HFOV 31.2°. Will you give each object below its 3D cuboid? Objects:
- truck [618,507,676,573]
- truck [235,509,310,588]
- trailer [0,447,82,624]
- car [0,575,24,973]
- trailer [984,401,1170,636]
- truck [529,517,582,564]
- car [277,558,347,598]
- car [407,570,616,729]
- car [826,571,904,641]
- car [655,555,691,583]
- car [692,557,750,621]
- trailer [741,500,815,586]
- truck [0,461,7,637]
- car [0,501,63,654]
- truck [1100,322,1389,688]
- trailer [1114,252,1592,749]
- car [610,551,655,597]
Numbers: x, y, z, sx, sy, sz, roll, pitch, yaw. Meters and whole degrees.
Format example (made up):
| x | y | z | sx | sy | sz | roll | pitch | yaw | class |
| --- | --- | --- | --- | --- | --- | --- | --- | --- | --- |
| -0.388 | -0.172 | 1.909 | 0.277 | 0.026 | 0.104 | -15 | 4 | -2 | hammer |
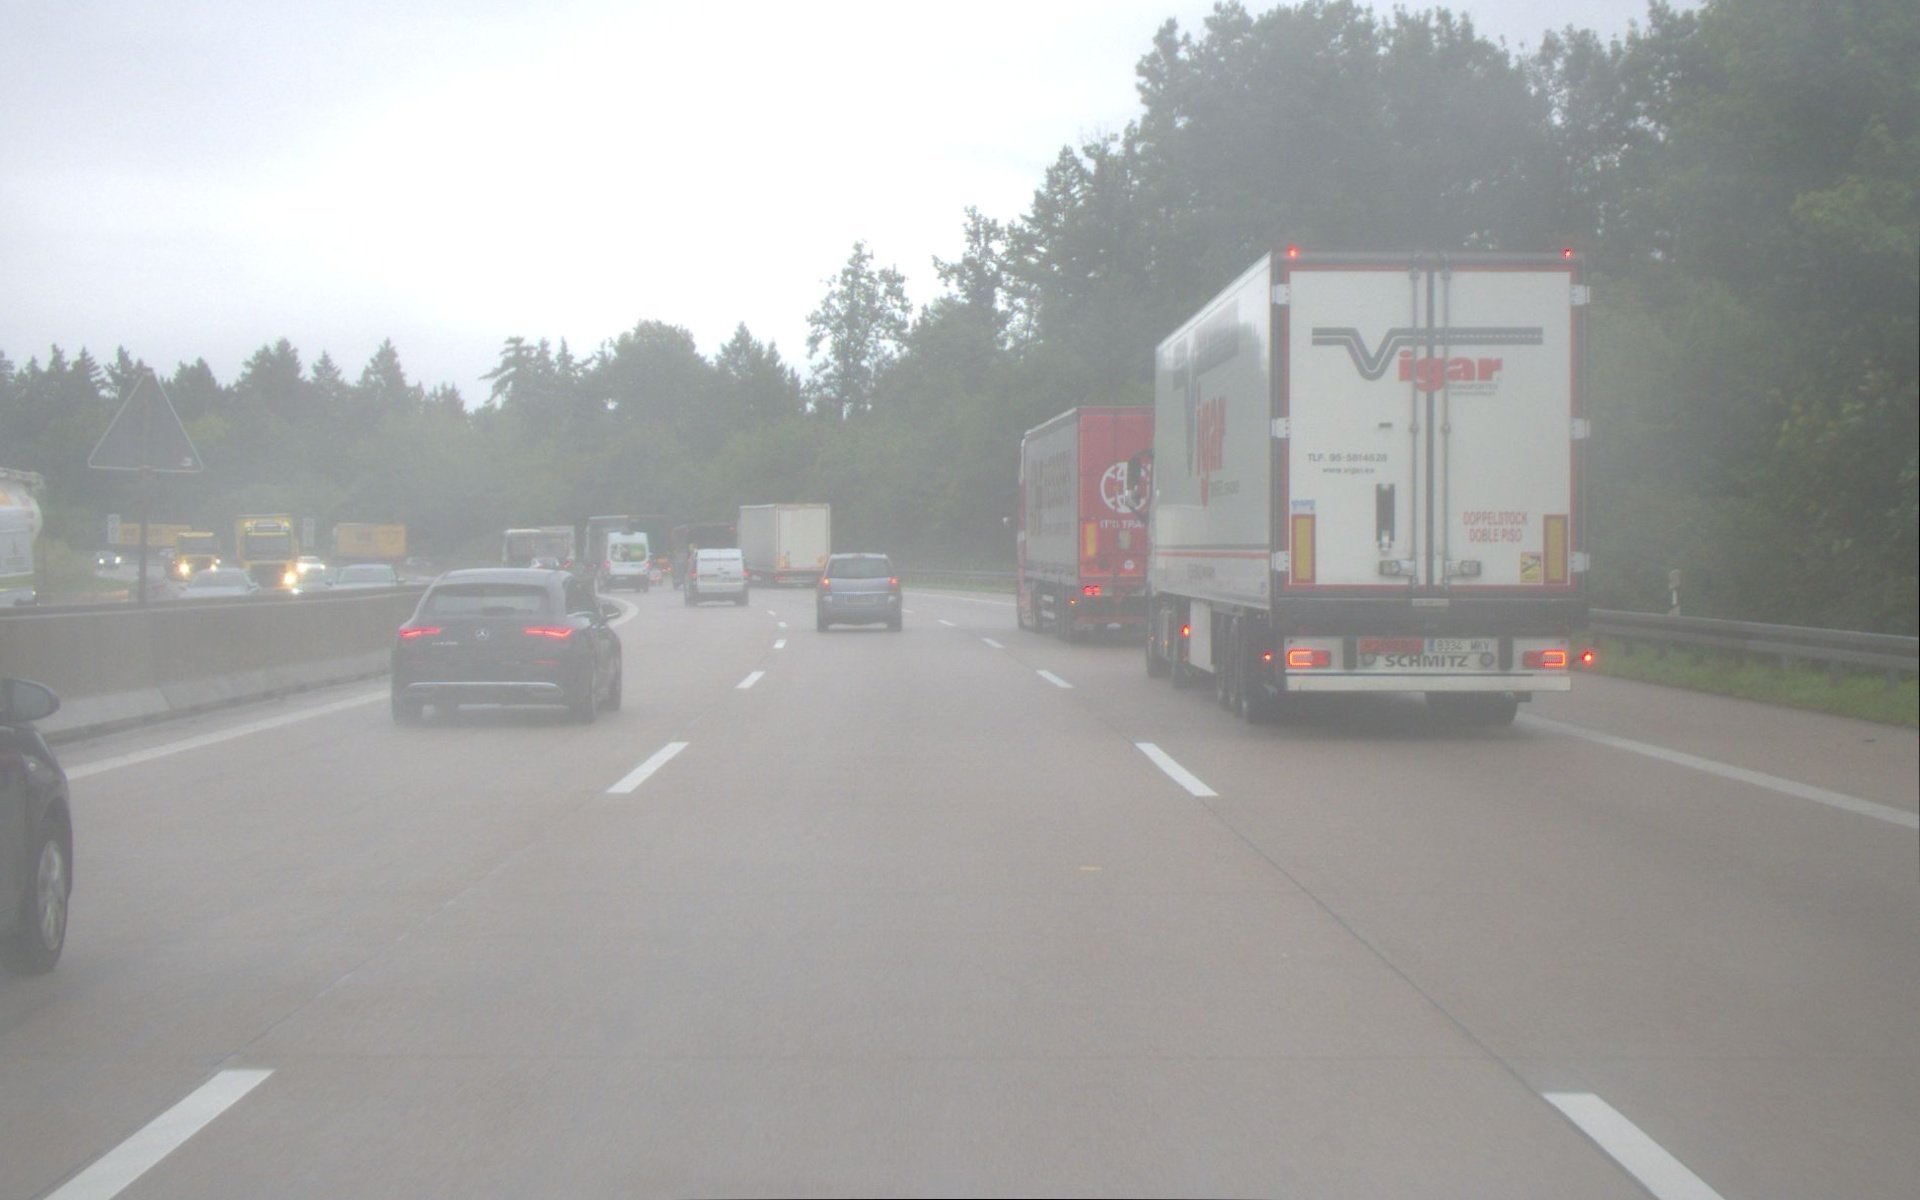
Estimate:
| x | y | z | sx | sy | sz | roll | pitch | yaw | class |
| --- | --- | --- | --- | --- | --- | --- | --- | --- | --- |
| -19.945 | -3.859 | 218.482 | 3.368 | 4.117 | 10.440 | 0 | 1 | -7 | truck |
| -34.528 | -2.594 | 172.936 | 3.025 | 3.861 | 8.119 | 0 | 1 | -7 | truck |
| -21.254 | -1.381 | 74.552 | 2.545 | 3.654 | 8.231 | 0 | 1 | -2 | trailer |
| -4.157 | 0.644 | 11.013 | 1.683 | 1.457 | 3.684 | 2 | 1 | -7 | car |
| 2.036 | -1.476 | 64.789 | 2.370 | 3.940 | 12.522 | 1 | 1 | -3 | trailer |
| -26.519 | -3.953 | 225.644 | 3.082 | 2.895 | 7.905 | 1 | 2 | -4 | truck |
| -22.036 | -0.759 | 117.019 | 1.802 | 1.329 | 4.565 | 0 | 1 | -4 | car |
| -4.171 | 0.427 | 32.429 | 1.553 | 1.347 | 3.684 | 2 | 1 | -2 | car |
| -1.986 | 0.104 | 71.372 | 1.553 | 1.347 | 3.684 | 2 | 1 | -2 | car |
| -15.469 | -1.682 | 185.296 | 1.881 | 1.468 | 4.001 | 2 | 1 | -4 | car |
| -7.782 | -0.367 | 111.700 | 1.725 | 2.007 | 3.657 | -1 | 1 | -6 | car |
| -8.915 | -2.829 | 167.344 | 2.419 | 4.054 | 12.058 | 0 | 1 | -9 | trailer |
| -21.036 | -0.991 | 66.503 | 2.564 | 3.654 | 10.493 | 0 | 1 | -2 | truck |
| -16.377 | -0.370 | 55.851 | 1.993 | 2.441 | 6.746 | 0 | 1 | -1 | car |
| 3.315 | -1.118 | 41.580 | 2.798 | 4.089 | 5.968 | 0 | 1 | -2 | truck |
| 3.565 | -0.929 | 35.282 | 2.734 | 4.089 | 13.684 | 0 | 1 | -2 | trailer |
| -15.036 | -1.212 | 158.049 | 1.993 | 2.052 | 4.001 | -1 | 1 | -5 | car |
